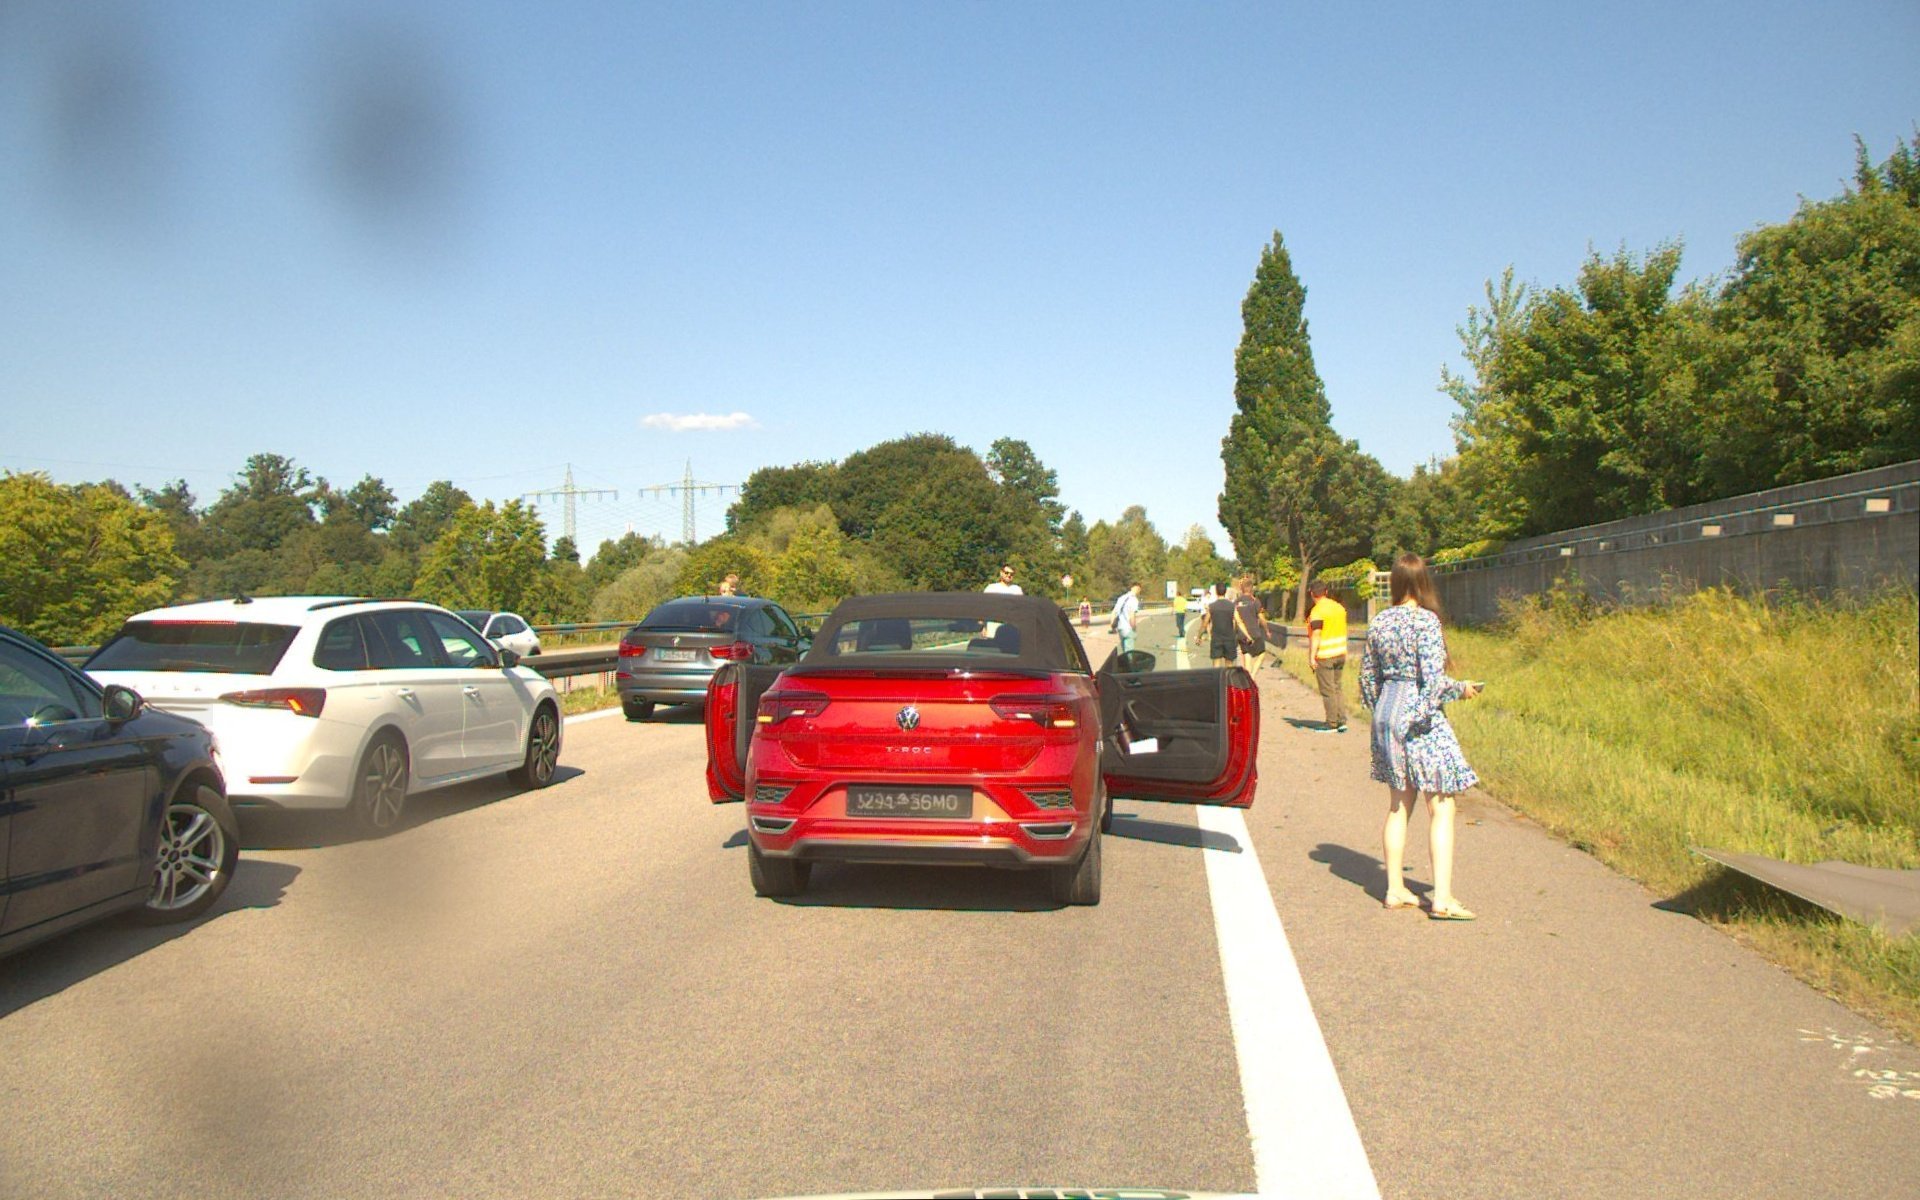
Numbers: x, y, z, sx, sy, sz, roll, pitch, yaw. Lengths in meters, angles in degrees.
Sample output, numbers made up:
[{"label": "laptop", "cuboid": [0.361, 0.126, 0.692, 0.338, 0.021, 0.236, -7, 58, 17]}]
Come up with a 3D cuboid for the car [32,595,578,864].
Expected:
[{"label": "car", "cuboid": [-4.137, 0.703, 11.285, 1.658, 1.467, 4.213, 0, 0, 7]}]

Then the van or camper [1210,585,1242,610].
[{"label": "van or camper", "cuboid": [25.691, -0.188, 159.591, 1.953, 2.356, 4.468, 0, 0, 24]}]

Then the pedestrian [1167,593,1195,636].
[{"label": "pedestrian", "cuboid": [8.849, 0.571, 66.177, 1.033, 1.719, 1.018, 0, 0, 13]}]

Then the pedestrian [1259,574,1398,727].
[{"label": "pedestrian", "cuboid": [4.222, 0.558, 19.017, 0.946, 1.682, 1.267, -1, 0, -27]}]

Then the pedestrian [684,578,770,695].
[{"label": "pedestrian", "cuboid": [-3.697, 0.569, 26.345, 1.091, 1.794, 1.045, -1, 0, 6]}]

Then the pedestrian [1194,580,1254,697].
[{"label": "pedestrian", "cuboid": [4.017, 0.579, 25.210, 0.875, 1.755, 0.755, 1, 0, 7]}]

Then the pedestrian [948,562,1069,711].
[{"label": "pedestrian", "cuboid": [0.650, 0.477, 22.397, 1.097, 1.946, 1.240, -1, 0, -37]}]

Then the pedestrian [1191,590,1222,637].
[{"label": "pedestrian", "cuboid": [9.147, 0.517, 61.401, 1.090, 1.719, 0.974, 1, 0, 7]}]

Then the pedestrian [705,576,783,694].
[{"label": "pedestrian", "cuboid": [-3.588, 0.568, 27.577, 1.043, 1.916, 1.094, -1, 0, 6]}]

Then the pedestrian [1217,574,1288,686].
[{"label": "pedestrian", "cuboid": [4.789, 0.483, 27.078, 0.807, 1.790, 0.816, 1, -1, -41]}]

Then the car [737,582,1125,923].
[{"label": "car", "cuboid": [0.067, 0.674, 9.580, 1.695, 1.513, 4.213, 0, 0, 7]}]

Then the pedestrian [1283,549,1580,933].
[{"label": "pedestrian", "cuboid": [2.314, 0.630, 8.133, 1.115, 1.725, 0.882, -1, 0, -34]}]

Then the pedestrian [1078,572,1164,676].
[{"label": "pedestrian", "cuboid": [2.898, 0.419, 29.765, 1.080, 1.820, 1.093, 1, -1, -37]}]

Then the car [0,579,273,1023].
[{"label": "car", "cuboid": [-4.175, 0.700, 5.812, 1.752, 1.519, 4.491, -1, 0, -2]}]

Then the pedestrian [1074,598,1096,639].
[{"label": "pedestrian", "cuboid": [5.220, 0.774, 68.973, 0.774, 1.719, 0.793, 0, 0, 12]}]

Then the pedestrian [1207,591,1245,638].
[{"label": "pedestrian", "cuboid": [9.790, 0.526, 60.868, 0.994, 1.719, 0.992, 1, 0, -25]}]

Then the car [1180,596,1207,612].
[{"label": "car", "cuboid": [23.523, 0.381, 166.748, 1.697, 1.513, 4.209, 0, 0, 23]}]

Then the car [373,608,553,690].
[{"label": "car", "cuboid": [-9.682, 0.917, 32.585, 1.658, 1.451, 4.309, 0, 0, 9]}]

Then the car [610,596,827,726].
[{"label": "car", "cuboid": [-2.934, 0.684, 21.013, 1.658, 1.451, 4.337, 0, 0, 7]}]
